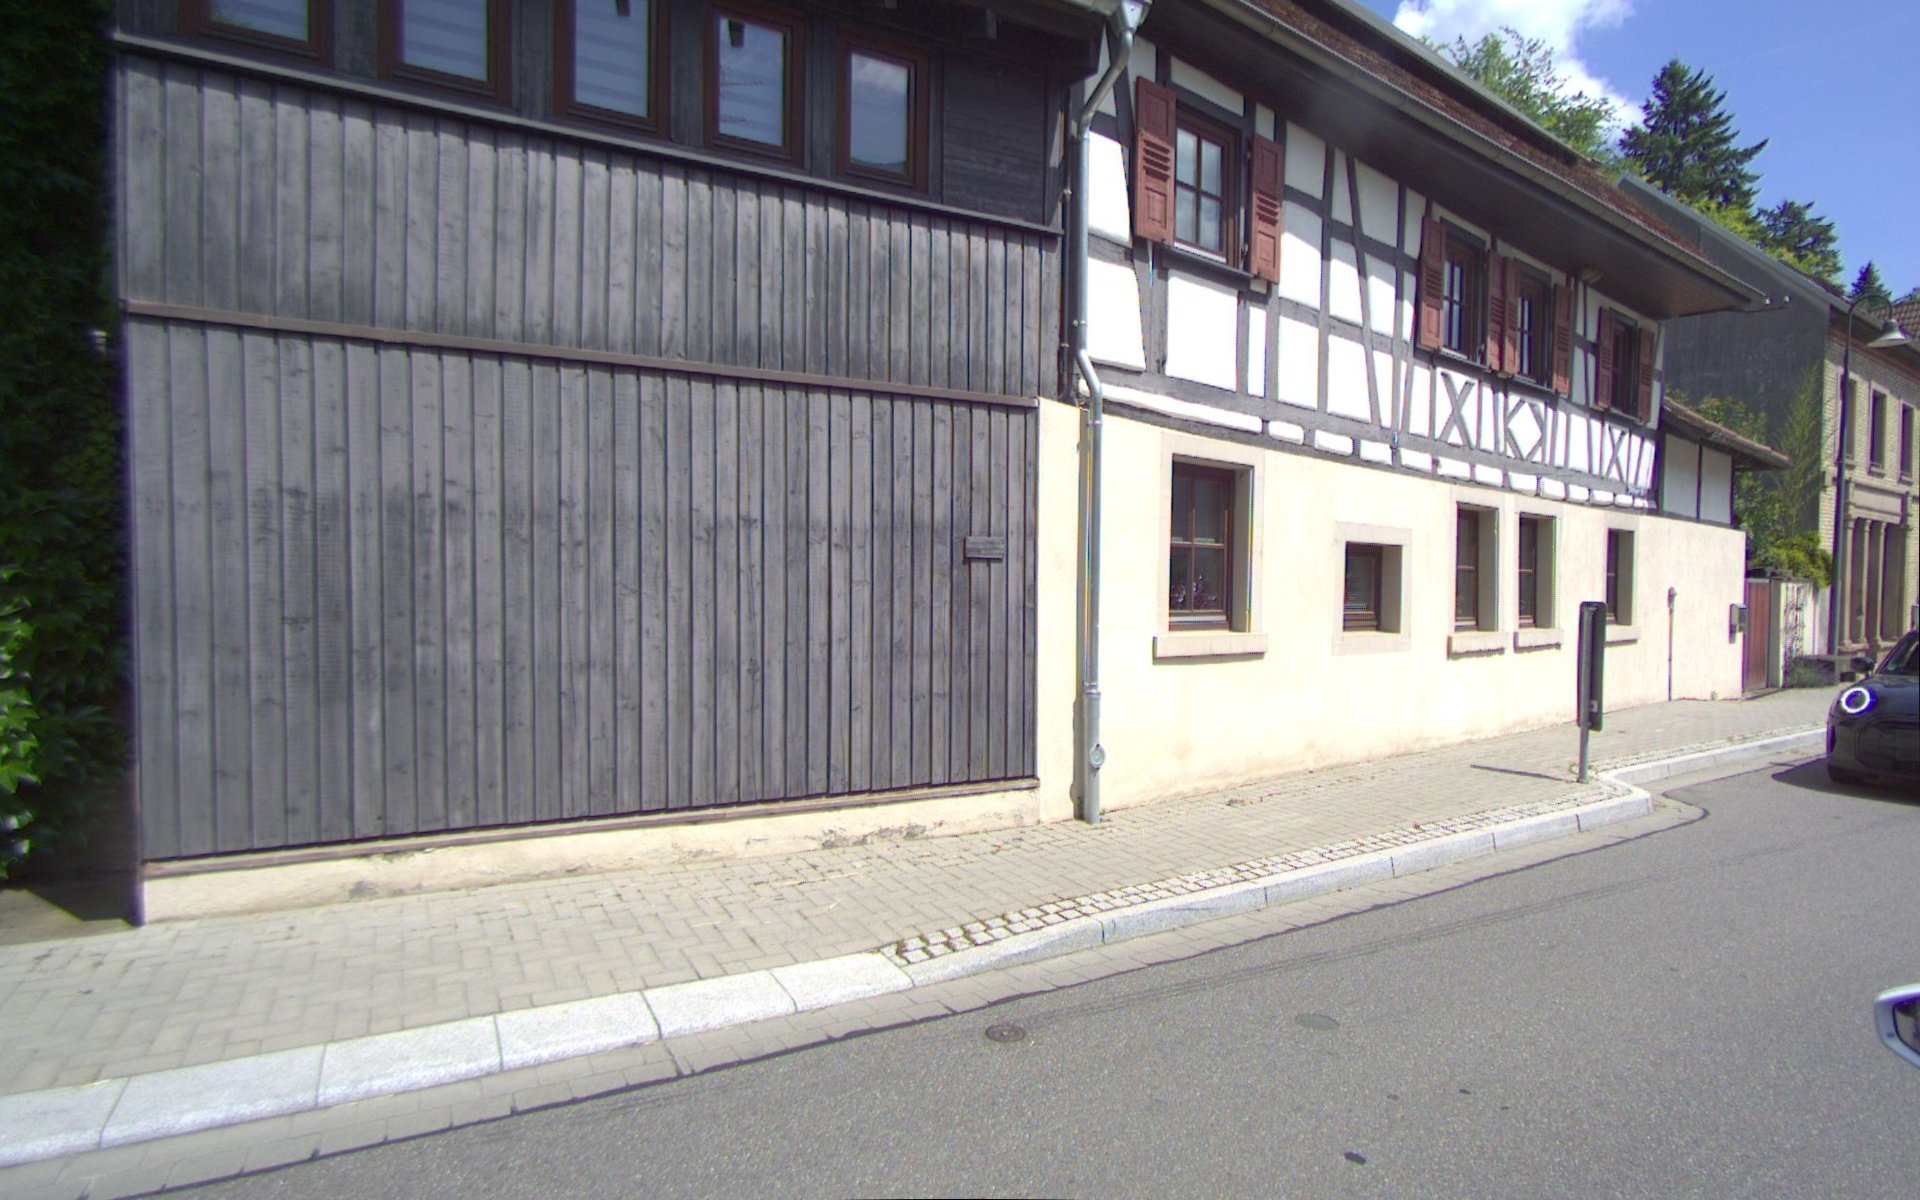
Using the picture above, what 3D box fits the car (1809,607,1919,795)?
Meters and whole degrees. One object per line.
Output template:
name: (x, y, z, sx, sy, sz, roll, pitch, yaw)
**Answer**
car: (9.483, 0.849, 9.204, 4.394, 1.485, 1.686, 1, 0, -37)
